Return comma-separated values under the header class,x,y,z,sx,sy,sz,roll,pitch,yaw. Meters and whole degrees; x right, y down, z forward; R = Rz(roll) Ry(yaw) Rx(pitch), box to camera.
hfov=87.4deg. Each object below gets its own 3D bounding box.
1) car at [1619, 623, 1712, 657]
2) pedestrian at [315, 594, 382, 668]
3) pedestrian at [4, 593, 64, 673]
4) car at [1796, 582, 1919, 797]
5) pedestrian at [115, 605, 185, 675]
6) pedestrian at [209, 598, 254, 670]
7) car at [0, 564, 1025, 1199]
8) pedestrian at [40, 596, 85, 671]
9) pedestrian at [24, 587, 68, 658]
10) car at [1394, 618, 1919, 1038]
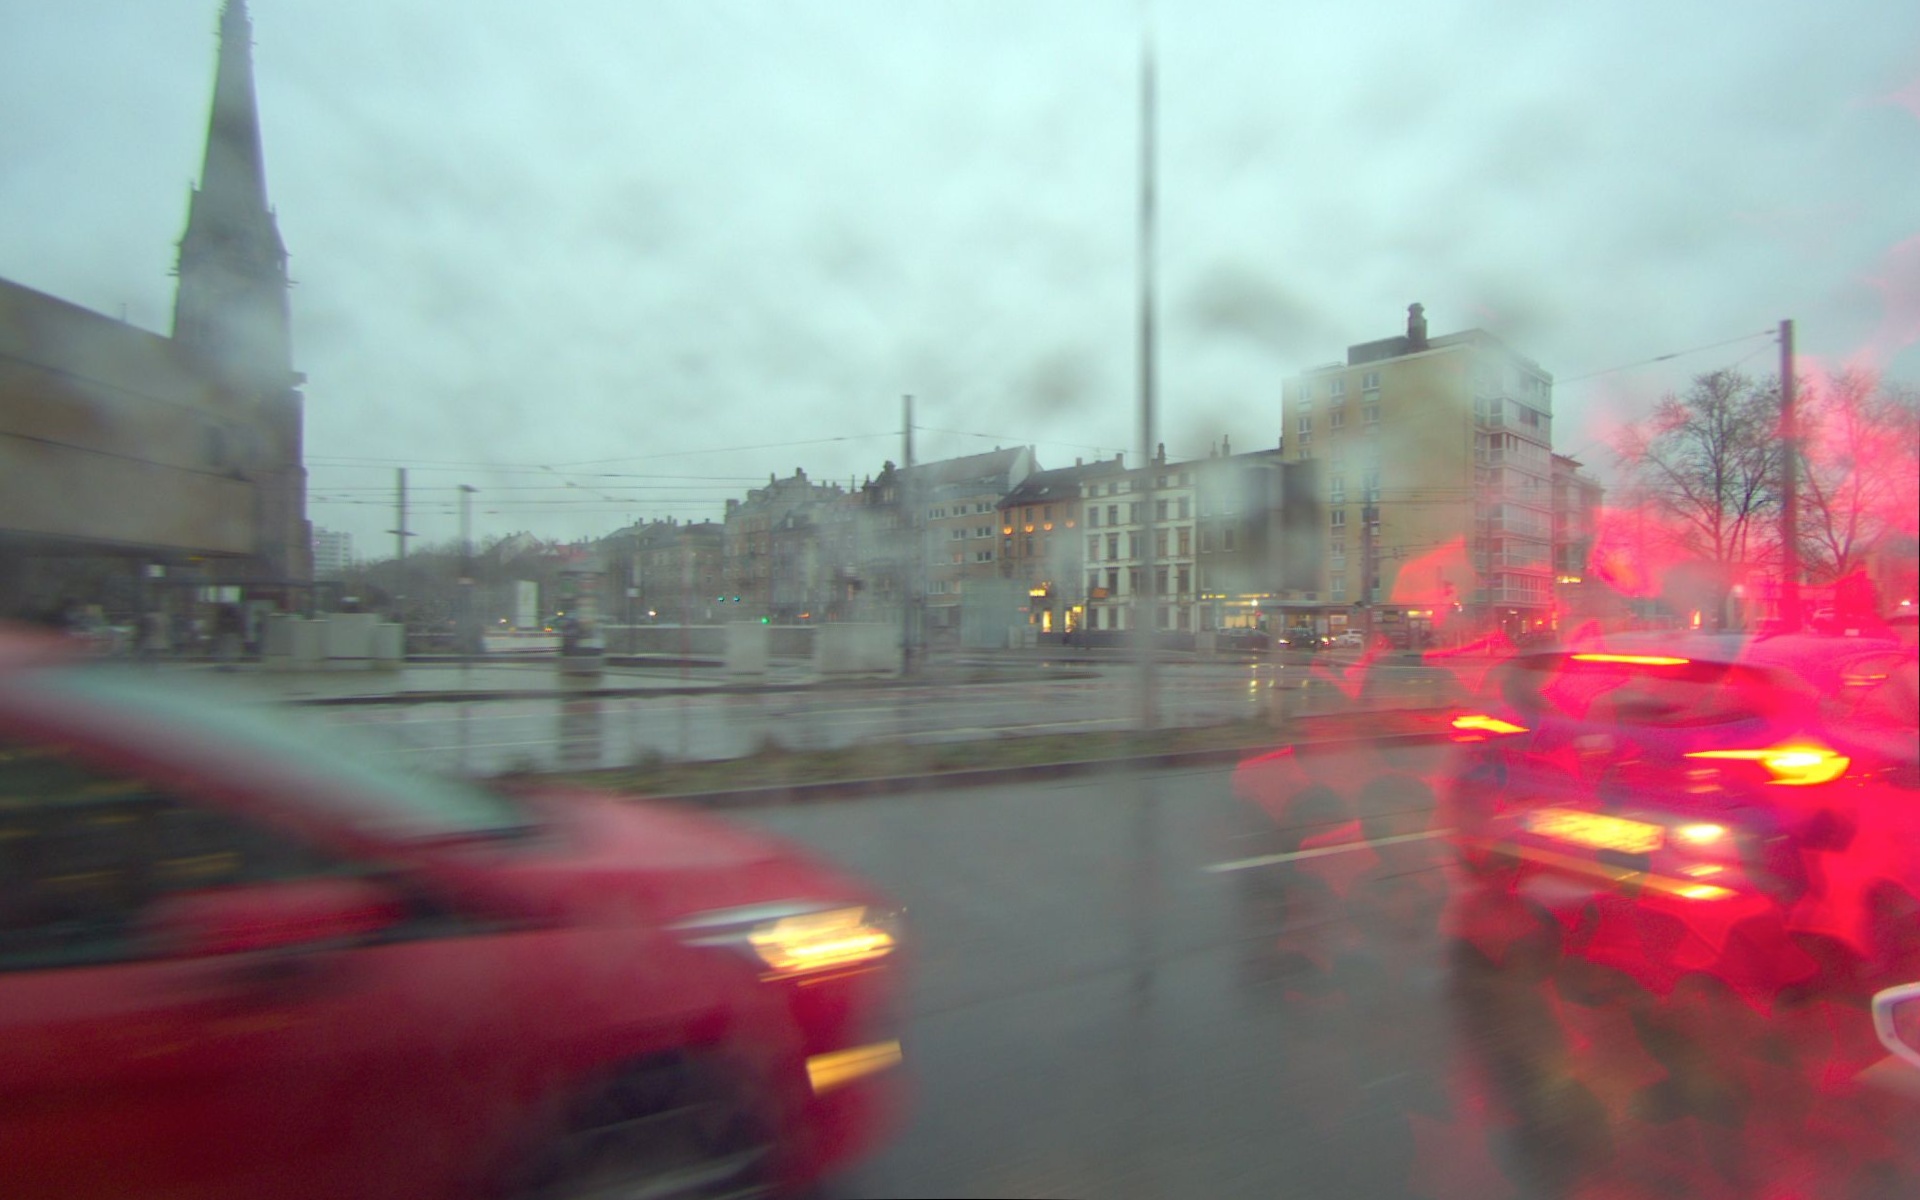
class,x,y,z,sx,sy,sz,roll,pitch,yaw
car,39.059,2.216,55.660,3.945,1.795,1.989,-2,-3,43
pedestrian,-16.409,0.840,26.993,1.041,1.944,1.124,0,-2,4
pedestrian,-20.838,0.743,22.612,0.733,1.749,0.739,1,-2,-21
car,9.277,0.730,8.599,4.487,1.622,1.777,1,1,-30
pedestrian,-19.198,0.944,23.828,0.946,1.624,0.856,0,-2,0
pedestrian,-18.311,0.854,25.257,0.790,1.774,0.758,-2,-2,43
car,-1.913,0.686,1.943,3.832,1.501,1.690,1,1,-34
pedestrian,-21.244,0.796,23.786,0.737,1.749,0.734,1,-2,-39
pedestrian,-23.098,0.578,25.395,0.737,1.749,0.735,1,-2,-37
car,4.290,0.857,5.325,4.075,1.423,1.649,1,0,-33
